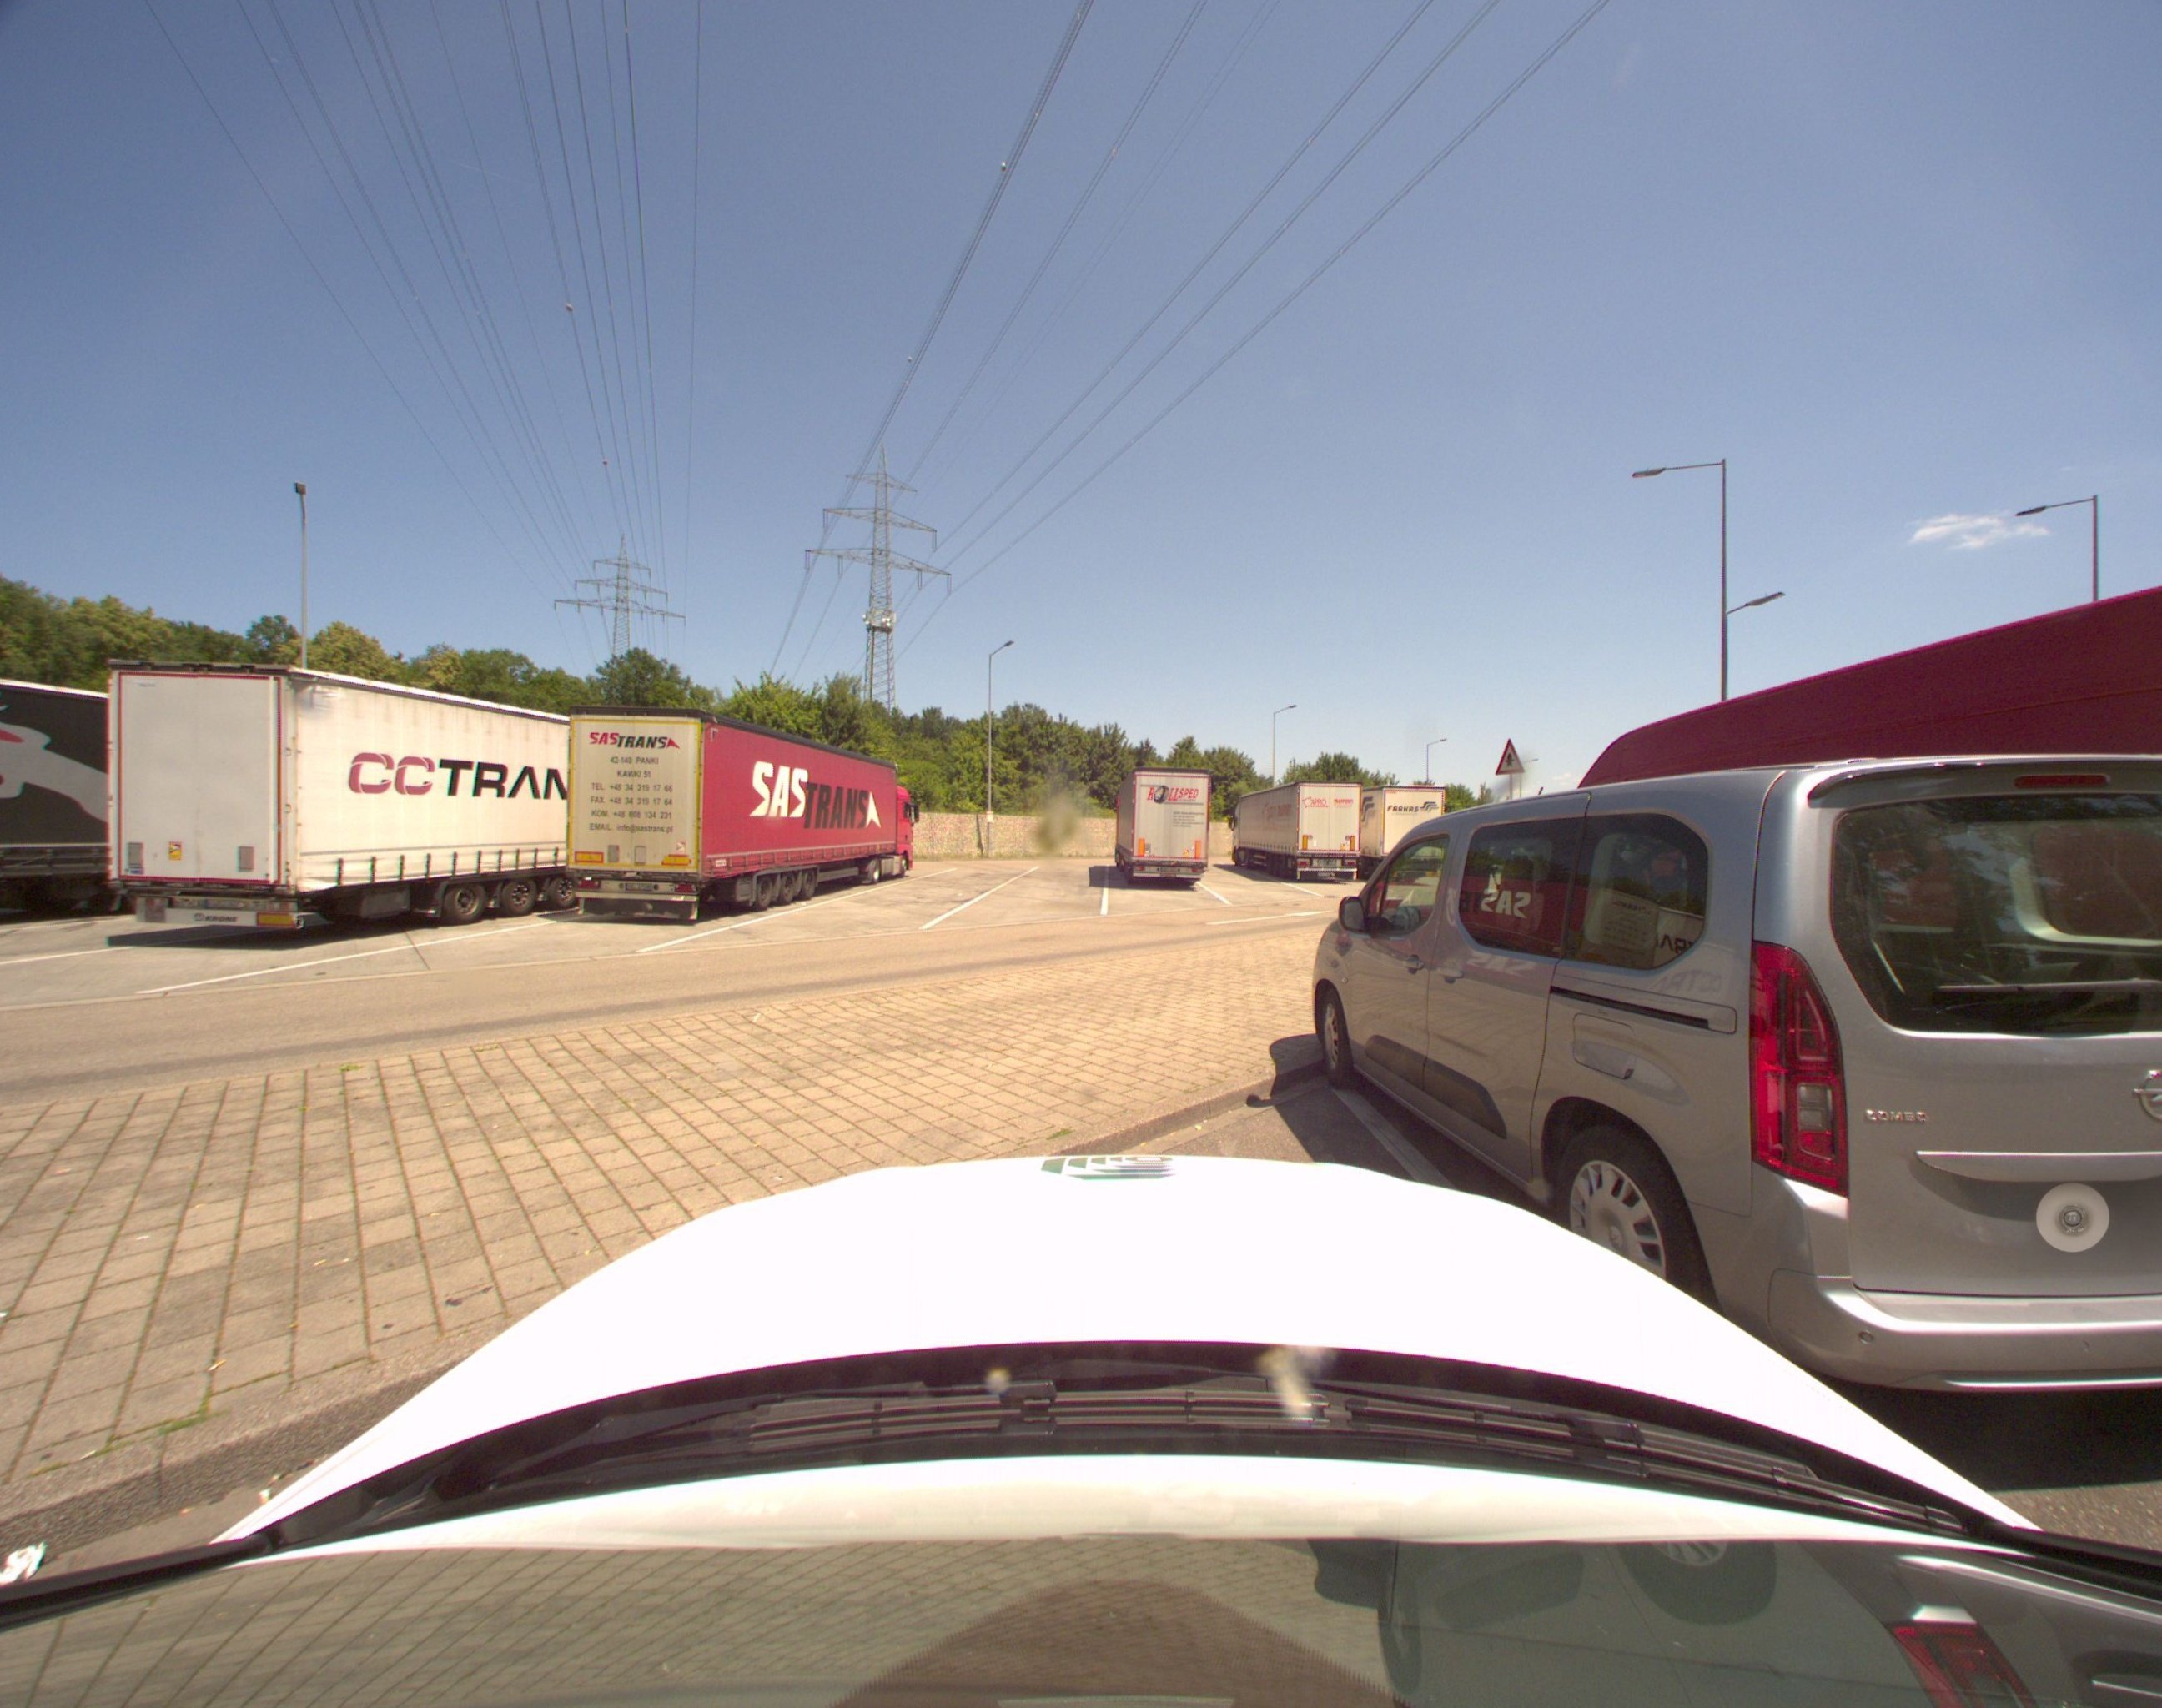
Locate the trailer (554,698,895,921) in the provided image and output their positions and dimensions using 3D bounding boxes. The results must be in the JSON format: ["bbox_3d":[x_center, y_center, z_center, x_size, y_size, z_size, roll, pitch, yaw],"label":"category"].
[{"bbox_3d":[-8.046,-0.914,21.548,2.739,4.057,13.292,-1,1,2],"label":"trailer"}]

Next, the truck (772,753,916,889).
[{"bbox_3d":[-7.840,-1.045,28.011,2.733,4.081,6.832,-1,1,1],"label":"truck"}]

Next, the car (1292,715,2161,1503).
[{"bbox_3d":[2.470,0.532,3.847,1.821,1.753,3.998,-1,1,-2],"label":"car"}]

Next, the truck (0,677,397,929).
[{"bbox_3d":[-18.512,-0.851,15.962,2.627,4.018,8.640,-1,1,2],"label":"truck"}]

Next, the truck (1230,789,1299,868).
[{"bbox_3d":[10.127,-1.387,45.409,2.747,4.124,5.286,-1,1,2],"label":"truck"}]

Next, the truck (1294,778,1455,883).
[{"bbox_3d":[13.574,-1.052,39.650,2.894,4.124,14.533,2,1,2],"label":"truck"}]

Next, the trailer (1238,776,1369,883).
[{"bbox_3d":[9.939,-1.061,38.406,2.865,4.124,13.577,0,1,2],"label":"trailer"}]

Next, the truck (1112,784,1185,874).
[{"bbox_3d":[3.127,-1.215,39.507,3.016,3.928,6.848,1,2,1],"label":"truck"}]

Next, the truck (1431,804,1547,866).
[{"bbox_3d":[24.461,-1.123,49.432,3.013,3.437,8.534,-1,1,2],"label":"truck"}]

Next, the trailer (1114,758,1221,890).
[{"bbox_3d":[3.044,-1.182,32.735,3.059,4.227,12.811,1,2,1],"label":"trailer"}]

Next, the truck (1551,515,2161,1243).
[{"bbox_3d":[5.099,0.053,4.869,1.983,2.623,5.312,-1,1,6],"label":"truck"}]

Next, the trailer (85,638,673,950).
[{"bbox_3d":[-12.100,-0.891,16.068,2.734,4.263,9.740,-1,1,3],"label":"trailer"}]
